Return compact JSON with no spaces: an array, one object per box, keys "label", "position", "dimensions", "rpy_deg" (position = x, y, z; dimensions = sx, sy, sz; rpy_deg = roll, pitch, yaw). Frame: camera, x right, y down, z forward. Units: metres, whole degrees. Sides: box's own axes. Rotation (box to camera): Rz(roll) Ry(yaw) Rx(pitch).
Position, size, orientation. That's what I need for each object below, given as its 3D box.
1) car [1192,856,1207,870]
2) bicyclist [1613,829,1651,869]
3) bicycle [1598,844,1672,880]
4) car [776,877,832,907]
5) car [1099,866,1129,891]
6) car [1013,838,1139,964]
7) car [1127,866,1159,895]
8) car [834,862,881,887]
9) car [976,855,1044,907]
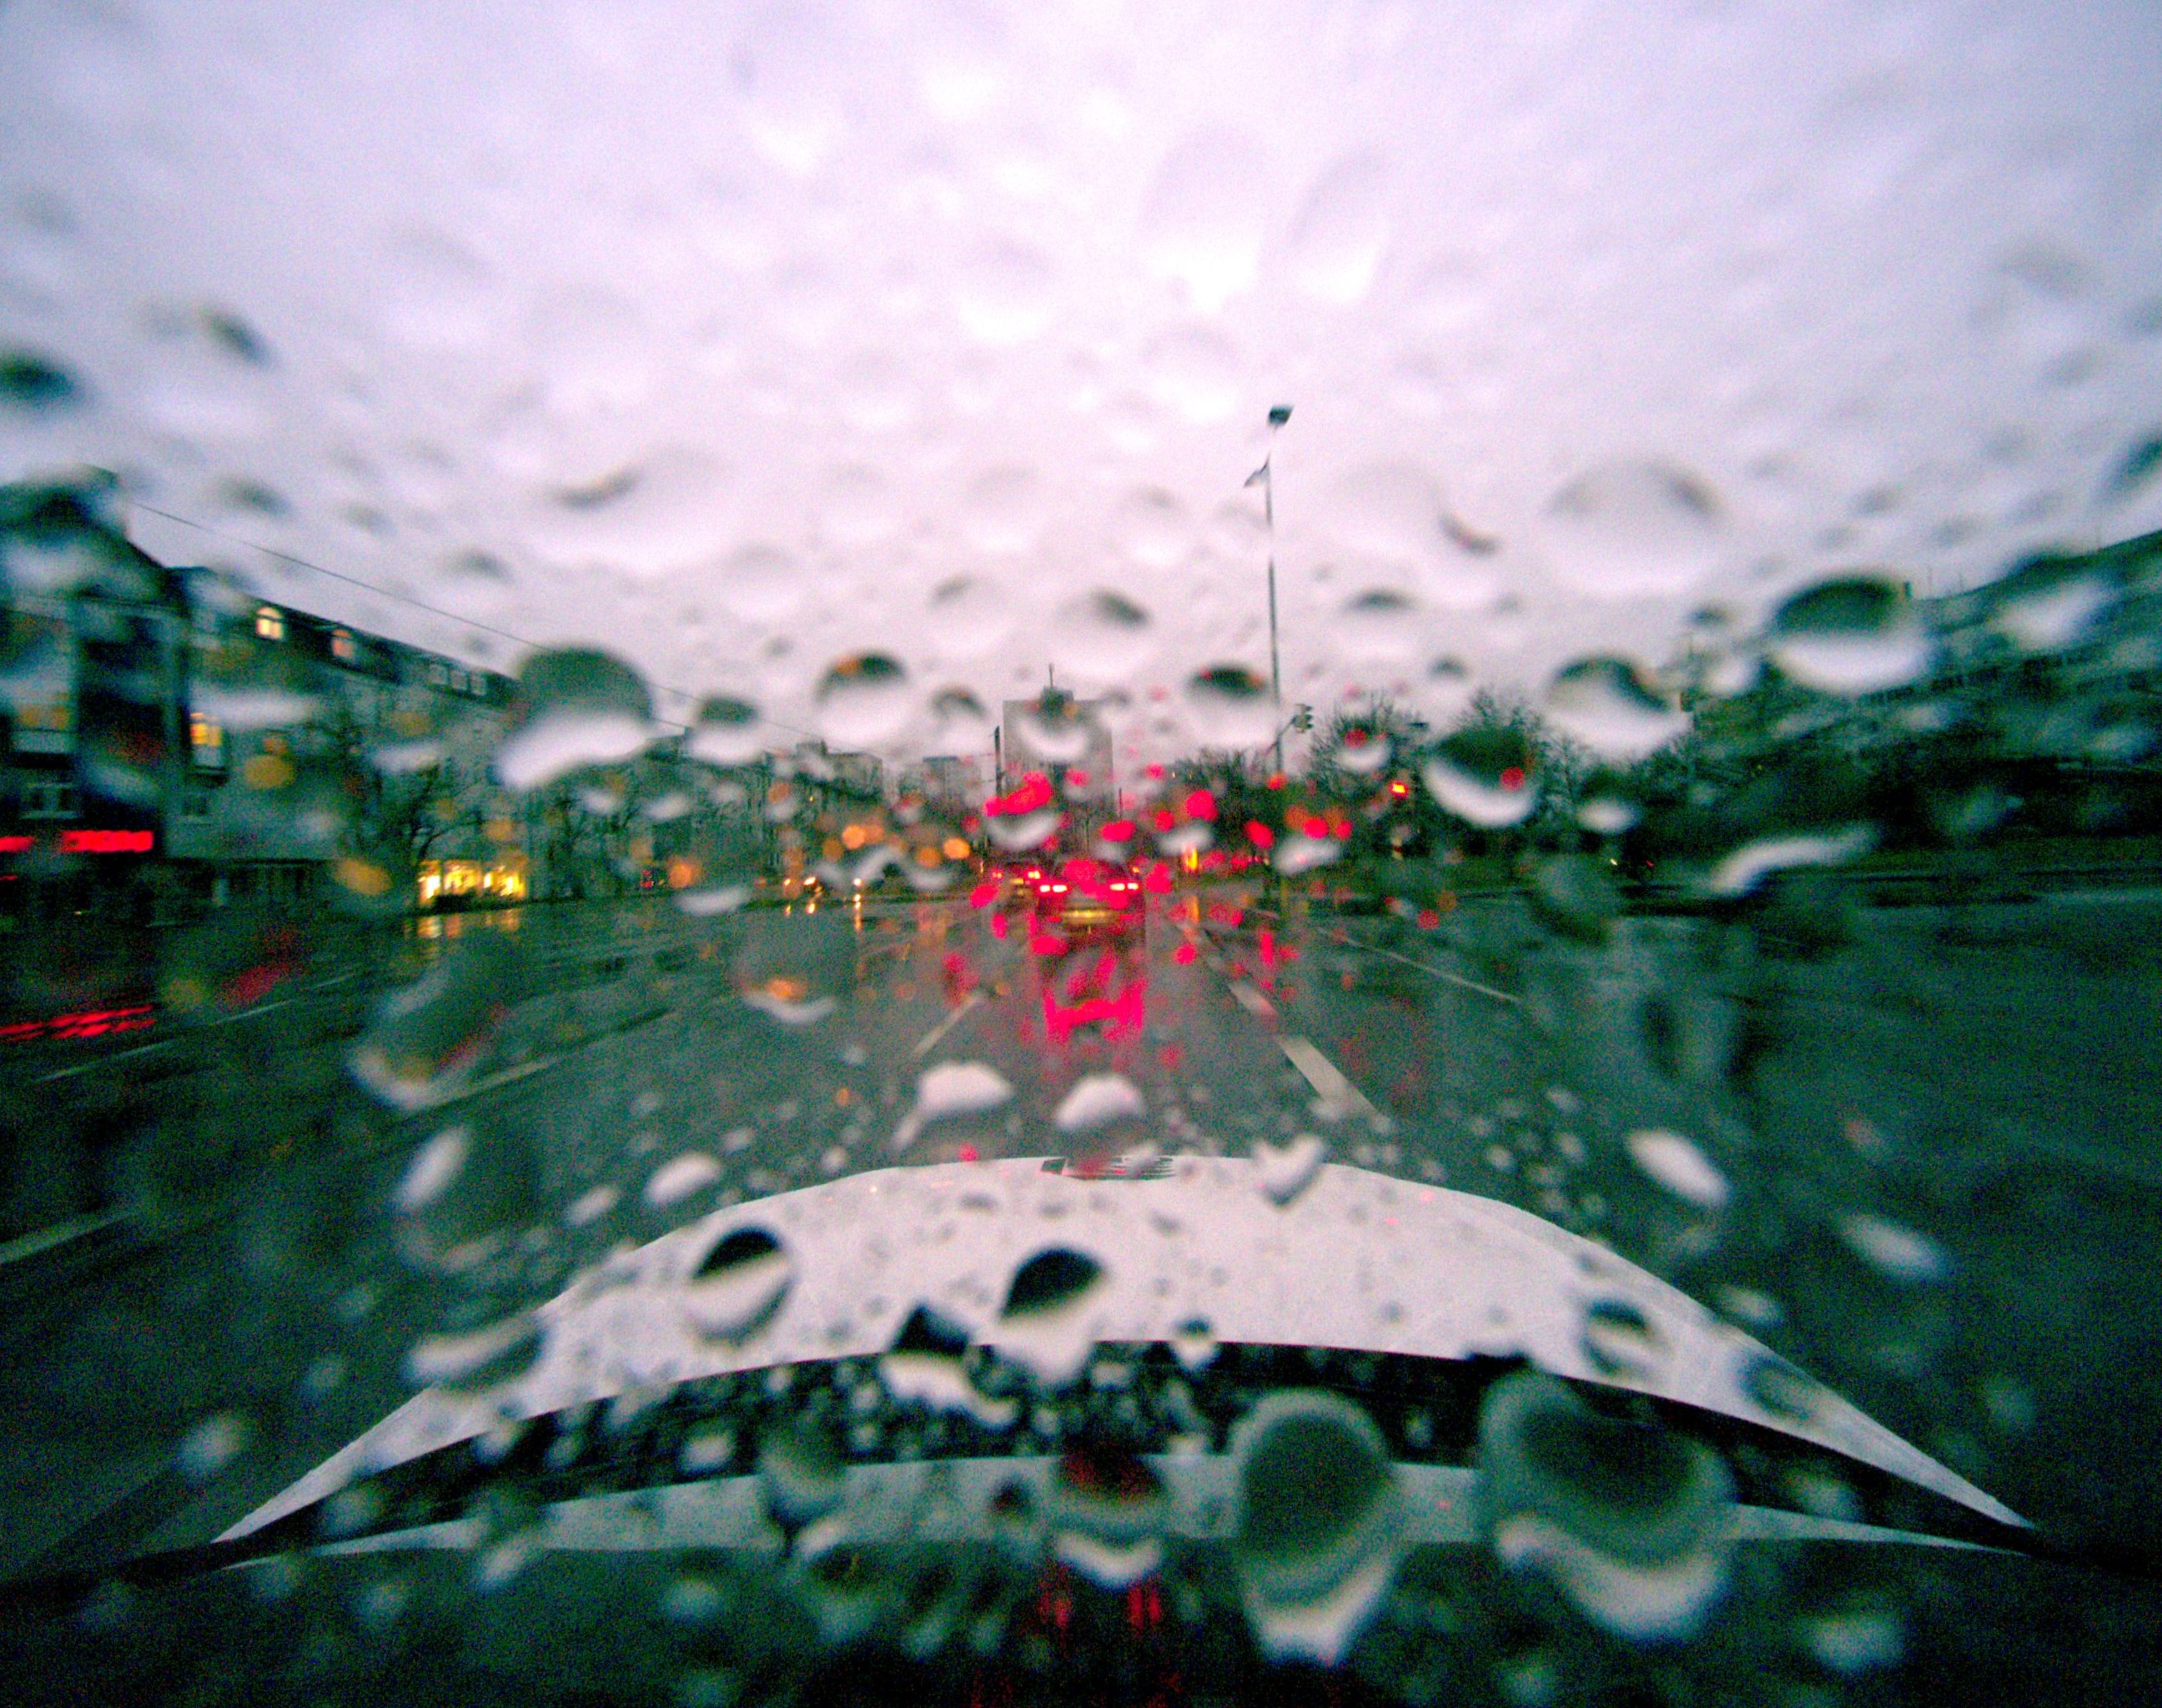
[{"label":"car","position":[13.471,1.028,92.676],"dimensions":[1.527,1.513,3.348],"rpy_deg":[-1,-1,6]},{"label":"bicyclist","position":[19.894,-0.171,29.440],"dimensions":[0.747,1.430,0.928],"rpy_deg":[-1,-2,4]},{"label":"bicycle","position":[19.955,0.276,29.369],"dimensions":[1.958,1.216,1.040],"rpy_deg":[-3,1,-2]},{"label":"car","position":[-15.862,2.141,46.823],"dimensions":[1.798,1.607,4.000],"rpy_deg":[-1,-1,1]},{"label":"car","position":[2.619,1.886,63.677],"dimensions":[1.760,1.892,3.654],"rpy_deg":[-1,-1,11]},{"label":"car","position":[-0.006,0.791,14.974],"dimensions":[1.986,1.976,4.069],"rpy_deg":[-1,-1,2]},{"label":"car","position":[4.285,1.774,55.827],"dimensions":[1.846,1.892,4.009],"rpy_deg":[-1,-1,8]},{"label":"car","position":[-14.539,1.336,53.216],"dimensions":[1.581,1.529,4.935],"rpy_deg":[-1,-1,1]},{"label":"car","position":[-2.476,0.965,29.420],"dimensions":[1.986,1.712,4.325],"rpy_deg":[-1,-1,1]}]
